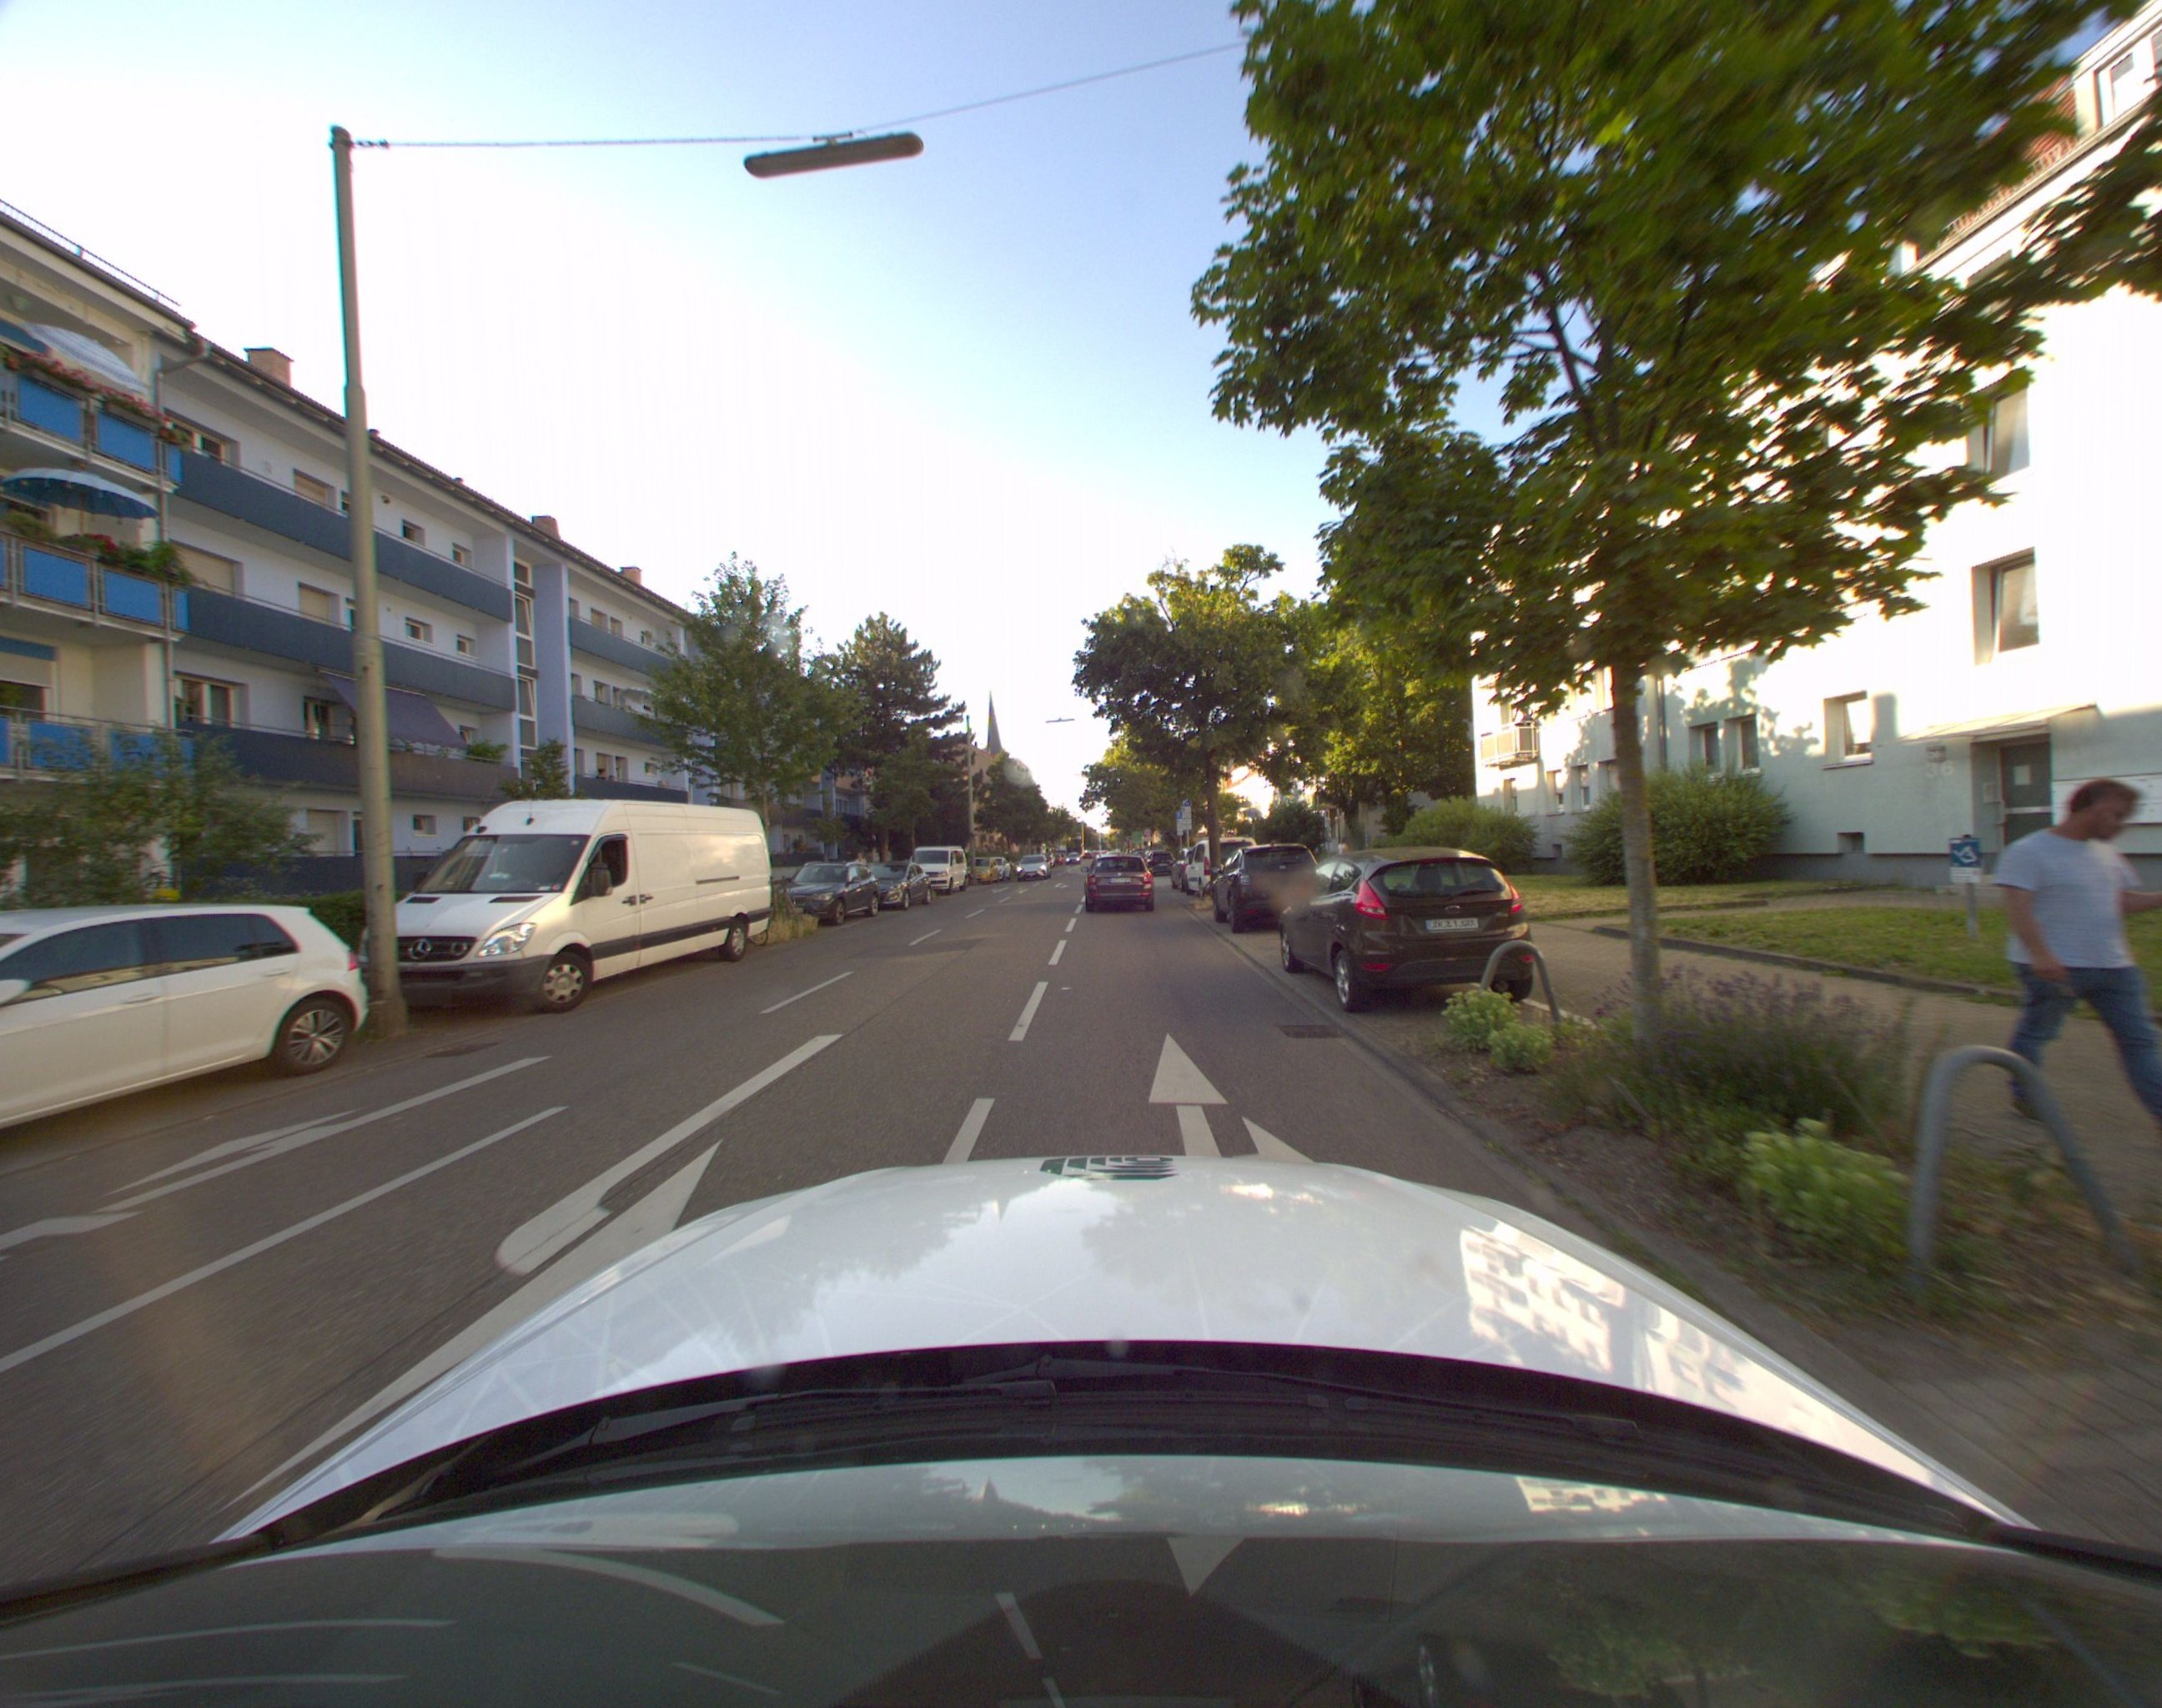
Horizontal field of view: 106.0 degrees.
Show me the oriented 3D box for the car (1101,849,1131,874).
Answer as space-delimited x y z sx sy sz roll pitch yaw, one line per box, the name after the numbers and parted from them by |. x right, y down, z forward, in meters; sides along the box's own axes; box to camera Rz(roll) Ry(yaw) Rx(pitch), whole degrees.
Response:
2.276 0.517 53.469 1.885 1.506 3.791 1 -1 1 | car

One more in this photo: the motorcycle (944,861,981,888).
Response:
-5.812 1.006 40.152 0.653 1.204 2.345 -3 1 23 | motorcycle

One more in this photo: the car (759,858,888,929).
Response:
-6.603 0.946 21.449 1.665 1.543 4.478 -2 0 4 | car

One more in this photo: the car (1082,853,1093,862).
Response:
1.298 0.655 164.064 1.989 1.750 3.995 -2 0 -3 | car

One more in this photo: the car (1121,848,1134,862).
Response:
6.462 0.128 112.835 1.747 1.806 4.003 -1 0 2 | car

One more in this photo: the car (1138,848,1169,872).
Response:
4.761 0.395 54.198 1.748 1.557 4.104 -1 0 1 | car

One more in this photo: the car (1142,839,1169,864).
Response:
5.871 -0.202 64.357 1.908 1.860 5.638 -2 0 4 | car

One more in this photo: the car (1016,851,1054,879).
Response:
-2.707 0.607 49.001 1.774 1.494 3.973 -4 0 2 | car

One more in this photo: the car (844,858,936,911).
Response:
-6.096 0.919 26.491 1.685 1.483 4.148 -2 0 4 | car

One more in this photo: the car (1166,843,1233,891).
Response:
4.292 0.433 29.978 1.749 1.556 4.251 -4 0 0 | car

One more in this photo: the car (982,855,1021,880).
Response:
-4.907 0.817 50.672 1.773 1.494 3.975 -1 0 4 | car

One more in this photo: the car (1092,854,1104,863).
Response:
2.705 0.702 132.433 1.776 1.480 3.969 -1 0 -1 | car

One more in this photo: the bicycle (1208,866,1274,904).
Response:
4.013 0.783 20.455 1.548 0.869 0.393 -2 0 -2 | bicycle

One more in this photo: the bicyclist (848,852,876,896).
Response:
-8.244 0.735 30.710 0.600 1.593 0.942 -3 0 9 | bicyclist

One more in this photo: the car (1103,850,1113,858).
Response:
5.731 -0.007 174.302 1.641 1.599 3.646 -2 0 -3 | car

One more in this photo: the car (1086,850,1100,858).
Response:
2.760 0.068 187.972 1.998 1.750 3.978 -2 0 -16 | car

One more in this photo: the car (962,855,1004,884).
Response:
-5.468 0.831 45.685 1.611 1.480 3.876 -1 0 4 | car

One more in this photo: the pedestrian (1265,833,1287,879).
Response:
8.194 0.071 34.268 0.793 1.861 0.954 -3 0 13 | pedestrian

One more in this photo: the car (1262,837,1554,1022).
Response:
3.188 0.625 8.824 1.607 1.466 3.960 -3 0 2 | car

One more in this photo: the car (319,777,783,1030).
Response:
-6.838 0.501 12.059 1.986 2.616 7.109 -1 0 2 | car

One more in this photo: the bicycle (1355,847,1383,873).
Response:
11.132 0.223 31.505 0.473 0.944 1.681 -3 0 2 | bicycle

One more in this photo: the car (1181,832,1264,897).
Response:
4.274 0.282 25.217 1.794 1.808 4.423 -1 0 0 | car

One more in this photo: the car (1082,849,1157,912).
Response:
1.044 0.625 21.351 1.746 1.492 4.004 -1 0 4 | car

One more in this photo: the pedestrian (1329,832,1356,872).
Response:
11.414 -0.087 35.538 0.748 1.721 0.792 -3 0 -39 | pedestrian

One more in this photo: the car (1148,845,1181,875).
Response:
4.885 0.349 47.991 1.746 1.686 4.256 -1 0 4 | car

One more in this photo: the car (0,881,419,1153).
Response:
-7.250 1.022 5.762 1.700 1.492 4.061 0 0 2 | car

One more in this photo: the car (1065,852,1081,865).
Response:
-1.025 0.530 103.193 1.733 1.479 4.311 -5 0 2 | car

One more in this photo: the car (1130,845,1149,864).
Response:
5.558 0.061 77.060 1.746 1.715 4.004 -1 0 4 | car

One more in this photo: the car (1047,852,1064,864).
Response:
-3.311 0.523 107.328 1.773 1.480 3.975 -1 0 4 | car

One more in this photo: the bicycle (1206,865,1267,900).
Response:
4.214 0.770 22.047 1.551 0.869 0.392 -2 0 -7 | bicycle

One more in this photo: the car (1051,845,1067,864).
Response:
-3.201 0.075 119.901 1.984 2.781 5.505 -1 0 1 | car

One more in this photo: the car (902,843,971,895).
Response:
-6.126 0.581 35.213 1.862 2.031 5.302 -1 0 1 | car

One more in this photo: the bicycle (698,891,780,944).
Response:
-6.726 1.247 16.026 1.463 1.014 0.441 -1 0 9 | bicycle

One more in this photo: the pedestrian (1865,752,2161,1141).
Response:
4.635 0.408 3.986 0.784 1.700 0.809 -2 0 6 | pedestrian

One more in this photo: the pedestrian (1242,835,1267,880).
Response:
7.364 0.140 34.596 0.746 1.861 1.068 -3 0 1 | pedestrian

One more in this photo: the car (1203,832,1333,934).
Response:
3.512 0.485 16.045 1.746 1.662 4.256 -3 0 4 | car
